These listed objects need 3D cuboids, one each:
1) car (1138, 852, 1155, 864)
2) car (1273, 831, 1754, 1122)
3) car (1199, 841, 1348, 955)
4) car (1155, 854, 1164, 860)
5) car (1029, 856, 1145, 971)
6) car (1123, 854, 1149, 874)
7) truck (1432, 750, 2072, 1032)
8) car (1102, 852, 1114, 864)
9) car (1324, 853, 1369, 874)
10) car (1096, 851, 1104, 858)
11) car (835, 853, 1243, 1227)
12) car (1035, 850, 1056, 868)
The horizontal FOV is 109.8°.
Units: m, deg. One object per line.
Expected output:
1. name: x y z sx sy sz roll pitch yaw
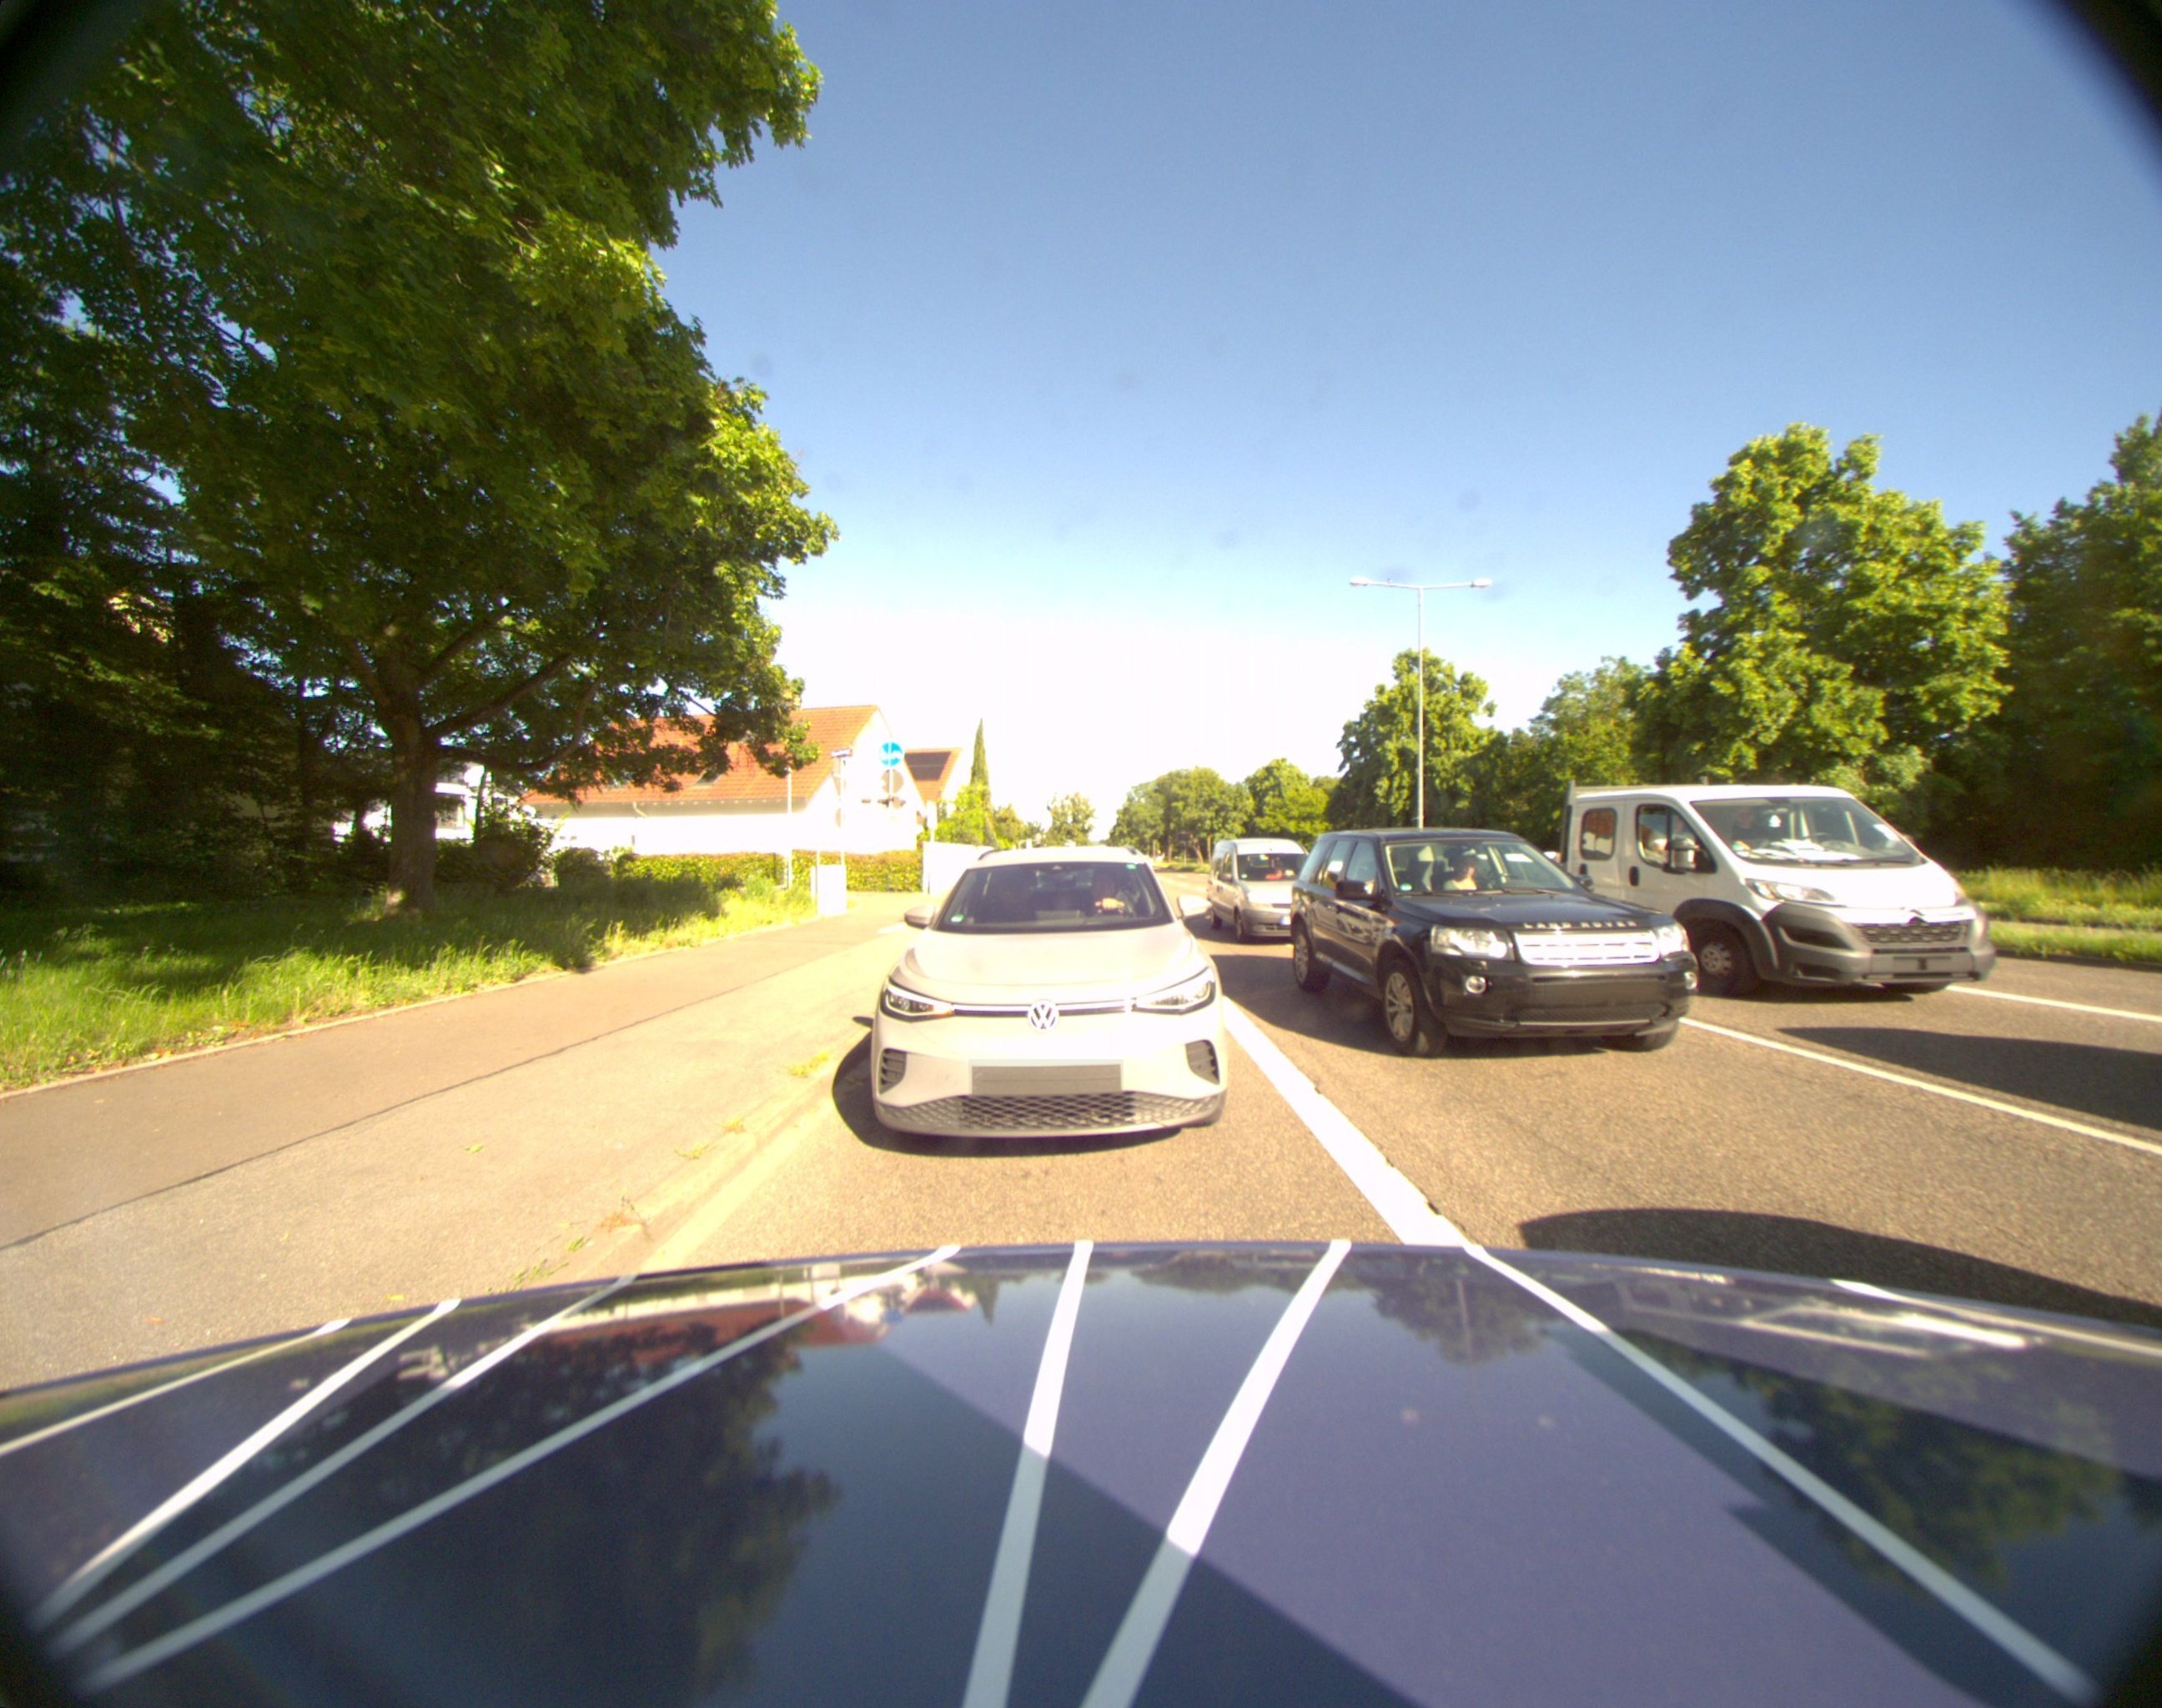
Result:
1. car: 8.099 0.465 94.266 1.727 1.436 3.999 0 0 -2
2. car: 3.168 0.718 6.776 1.816 1.721 4.386 -2 1 1
3. car: 3.327 0.657 13.971 1.632 1.741 4.386 -2 1 1
4. car: 20.846 0.814 202.139 1.878 1.674 4.000 0 0 1
5. car: 0.111 0.869 13.024 1.632 1.586 4.024 -2 1 1
6. car: 4.065 0.723 56.773 1.630 1.466 3.931 -1 0 0
7. truck: 7.215 0.273 9.787 2.185 2.307 6.842 -2 1 0
8. car: 3.931 0.597 110.764 1.726 1.630 4.000 0 0 1
9. car: 20.543 0.701 58.880 1.893 1.515 4.504 0 0 0
10. car: 4.311 0.197 175.150 1.726 1.630 4.000 0 0 1
11. car: -0.167 0.851 5.581 1.858 1.679 4.206 0 1 1
12. car: -3.146 0.445 67.669 1.630 1.523 3.931 -1 0 0
